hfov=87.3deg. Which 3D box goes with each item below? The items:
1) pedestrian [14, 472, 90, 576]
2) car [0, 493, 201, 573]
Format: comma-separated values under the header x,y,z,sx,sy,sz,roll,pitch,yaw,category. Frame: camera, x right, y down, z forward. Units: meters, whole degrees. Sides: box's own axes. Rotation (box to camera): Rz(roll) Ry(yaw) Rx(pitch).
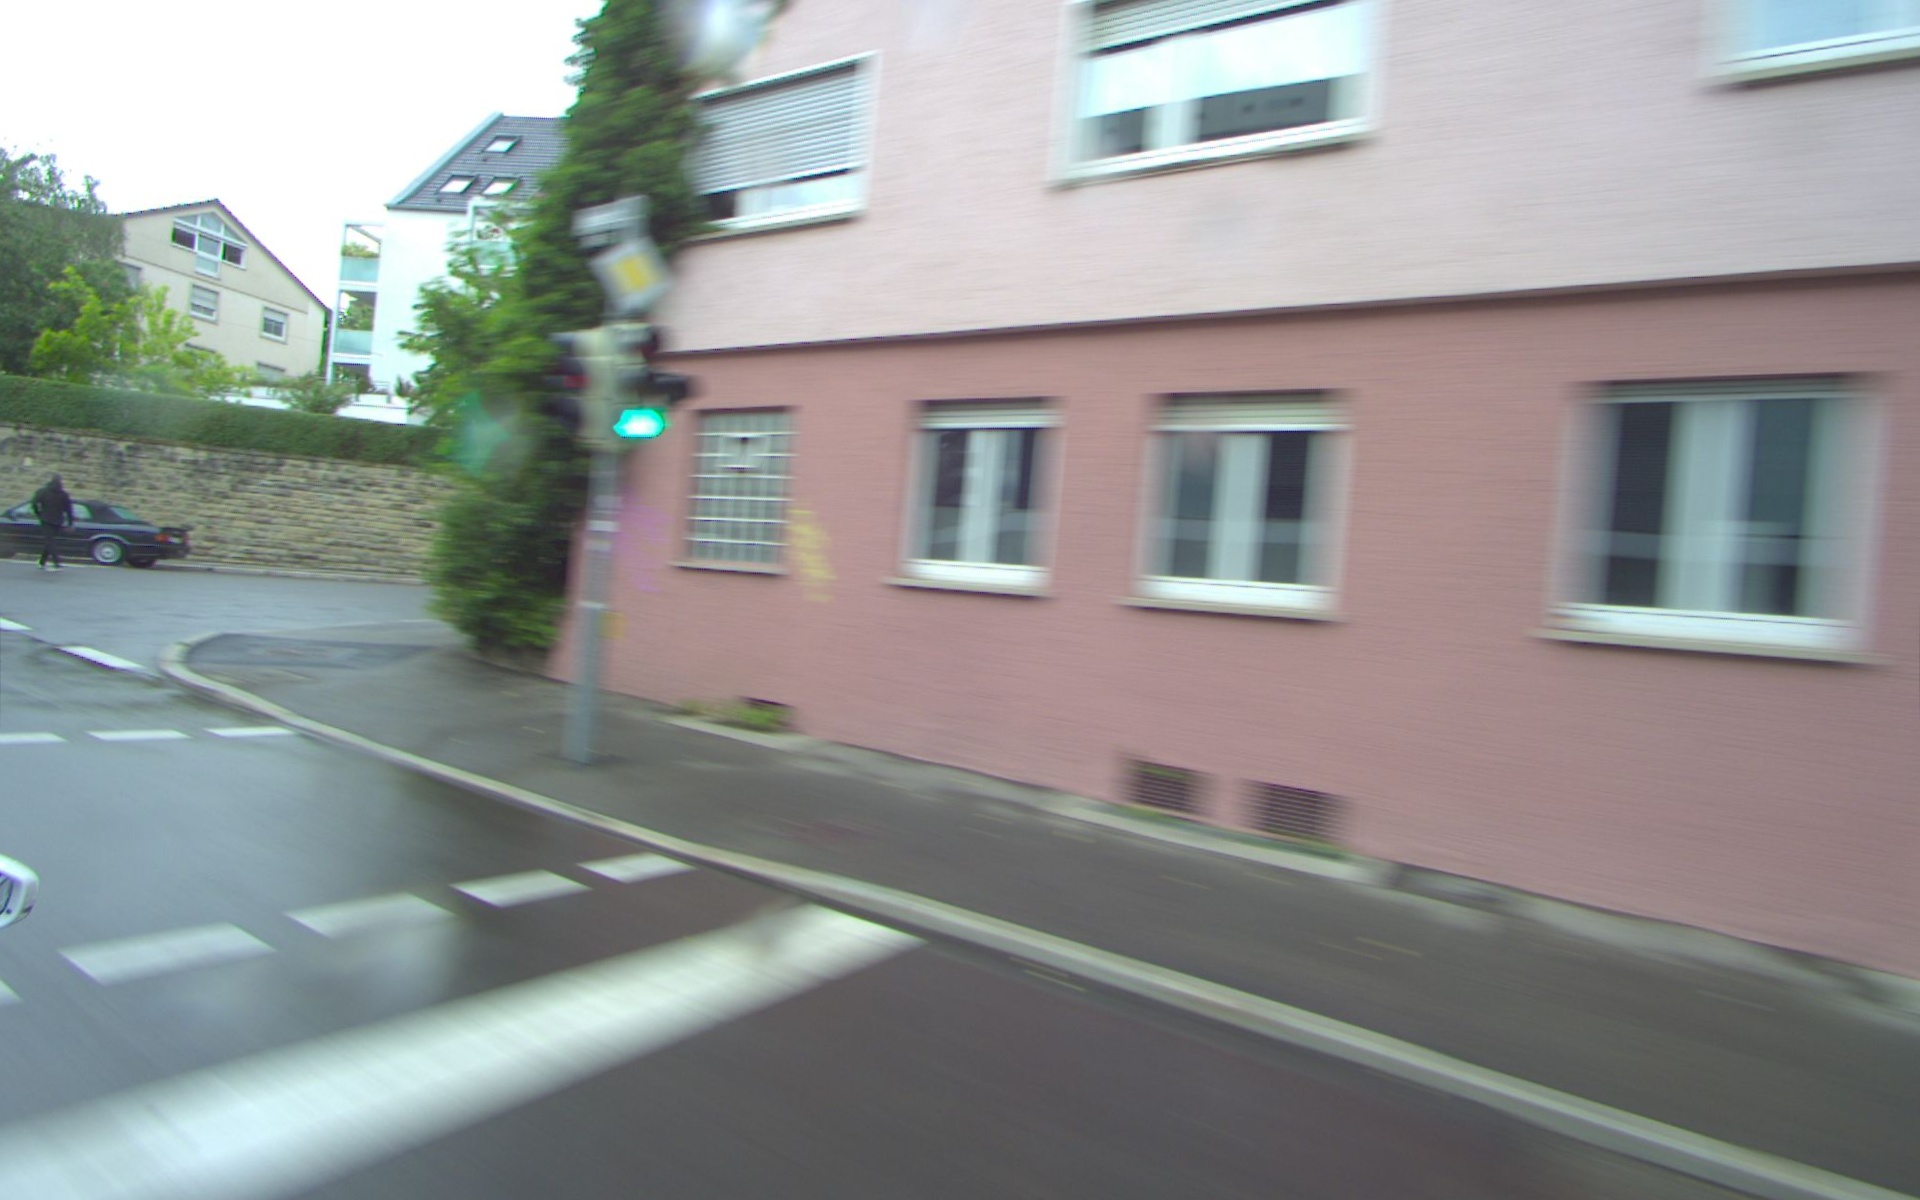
x,y,z,sx,sy,sz,roll,pitch,yaw,category
-16.227,-1.352,17.984,0.890,1.738,0.723,7,2,31,pedestrian
-19.196,-1.454,21.616,4.211,1.410,1.746,4,0,-18,car
